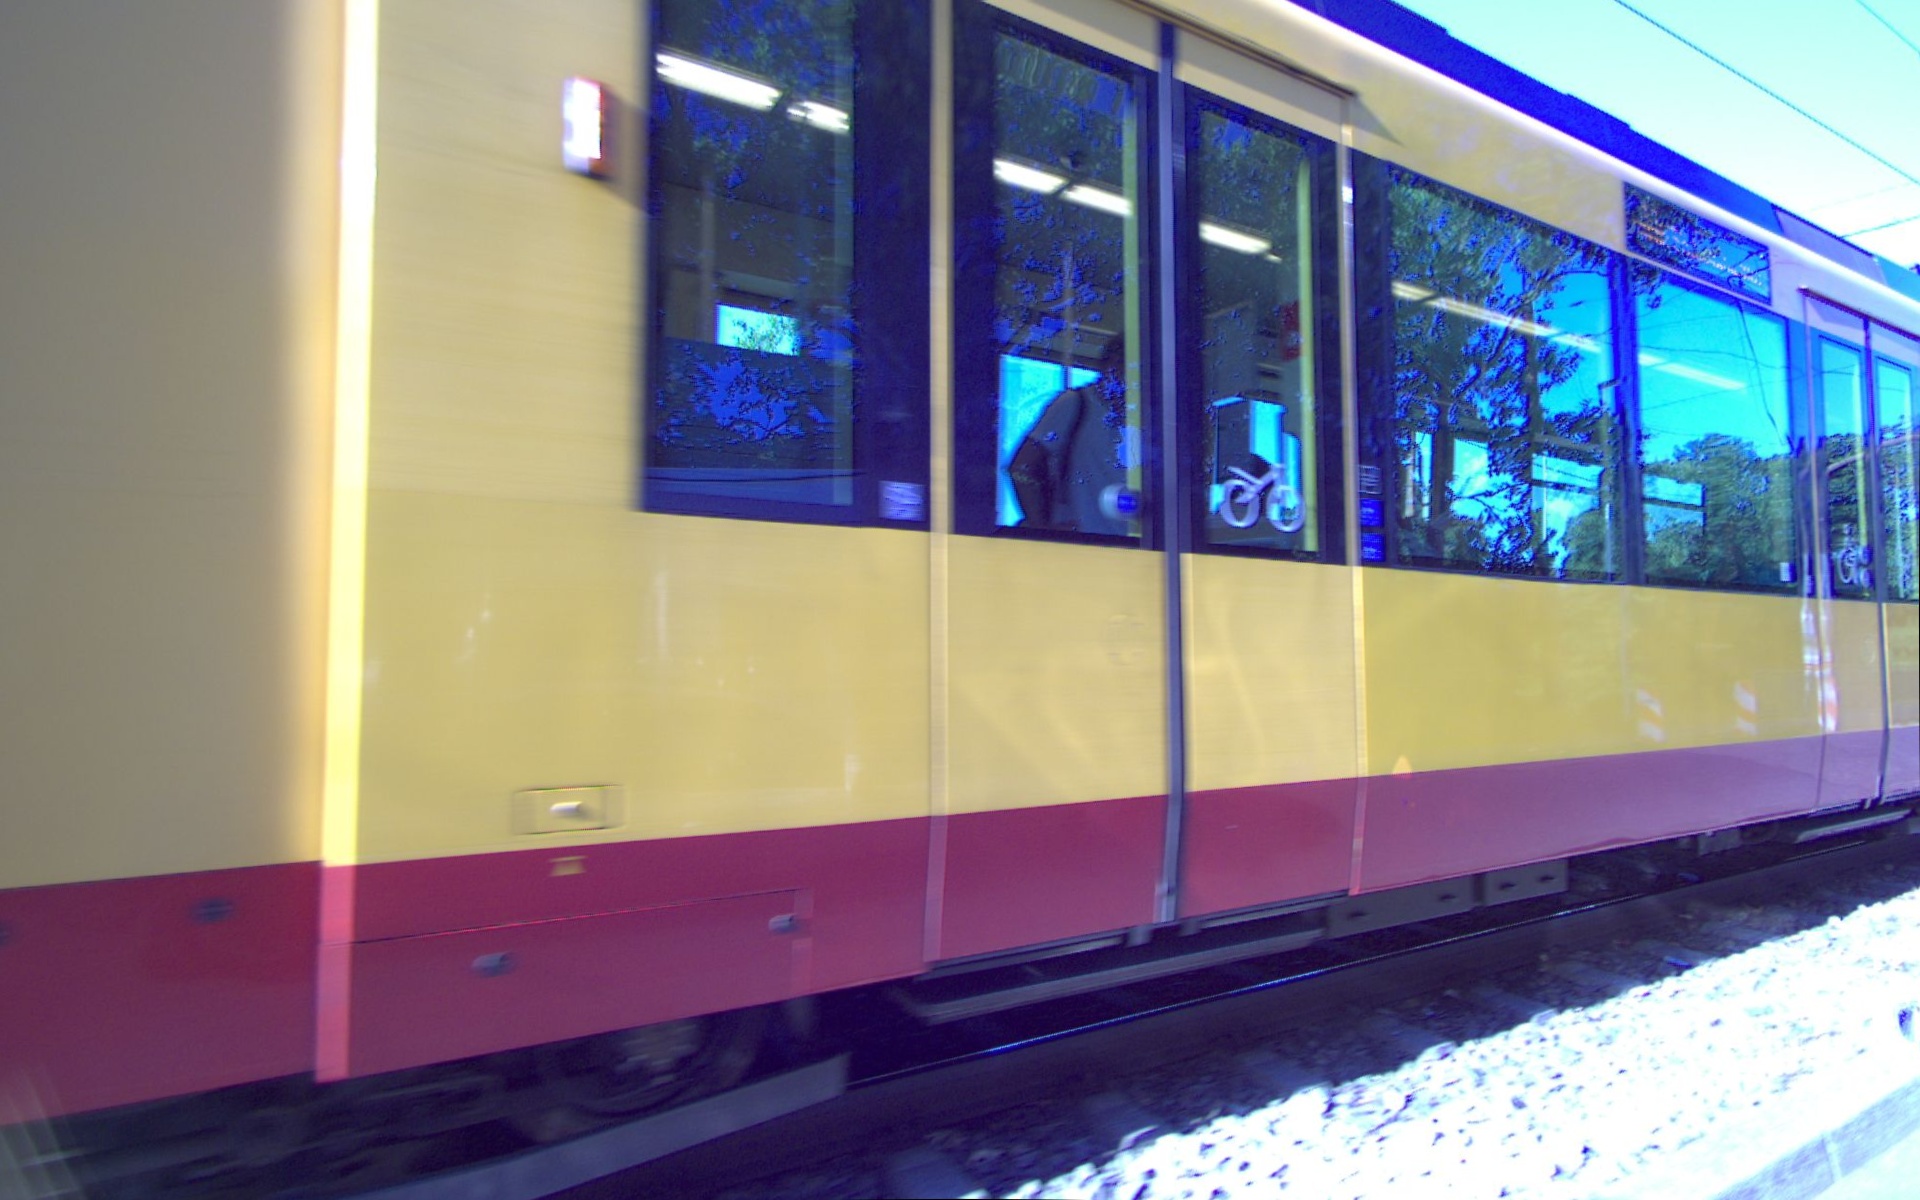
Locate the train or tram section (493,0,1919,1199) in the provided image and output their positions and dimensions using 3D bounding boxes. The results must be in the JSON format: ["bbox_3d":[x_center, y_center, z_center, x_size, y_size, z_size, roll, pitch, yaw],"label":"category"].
[{"bbox_3d":[4.150,-0.389,6.354,12.665,4.142,2.706,1,-2,-31],"label":"train or tram section"}]

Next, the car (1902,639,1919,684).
[{"bbox_3d":[33.098,2.031,33.044,4.854,1.431,1.759,2,-2,-30],"label":"car"}]

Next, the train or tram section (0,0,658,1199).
[{"bbox_3d":[-5.470,-0.663,0.641,9.794,4.142,2.682,1,-2,-30],"label":"train or tram section"}]
